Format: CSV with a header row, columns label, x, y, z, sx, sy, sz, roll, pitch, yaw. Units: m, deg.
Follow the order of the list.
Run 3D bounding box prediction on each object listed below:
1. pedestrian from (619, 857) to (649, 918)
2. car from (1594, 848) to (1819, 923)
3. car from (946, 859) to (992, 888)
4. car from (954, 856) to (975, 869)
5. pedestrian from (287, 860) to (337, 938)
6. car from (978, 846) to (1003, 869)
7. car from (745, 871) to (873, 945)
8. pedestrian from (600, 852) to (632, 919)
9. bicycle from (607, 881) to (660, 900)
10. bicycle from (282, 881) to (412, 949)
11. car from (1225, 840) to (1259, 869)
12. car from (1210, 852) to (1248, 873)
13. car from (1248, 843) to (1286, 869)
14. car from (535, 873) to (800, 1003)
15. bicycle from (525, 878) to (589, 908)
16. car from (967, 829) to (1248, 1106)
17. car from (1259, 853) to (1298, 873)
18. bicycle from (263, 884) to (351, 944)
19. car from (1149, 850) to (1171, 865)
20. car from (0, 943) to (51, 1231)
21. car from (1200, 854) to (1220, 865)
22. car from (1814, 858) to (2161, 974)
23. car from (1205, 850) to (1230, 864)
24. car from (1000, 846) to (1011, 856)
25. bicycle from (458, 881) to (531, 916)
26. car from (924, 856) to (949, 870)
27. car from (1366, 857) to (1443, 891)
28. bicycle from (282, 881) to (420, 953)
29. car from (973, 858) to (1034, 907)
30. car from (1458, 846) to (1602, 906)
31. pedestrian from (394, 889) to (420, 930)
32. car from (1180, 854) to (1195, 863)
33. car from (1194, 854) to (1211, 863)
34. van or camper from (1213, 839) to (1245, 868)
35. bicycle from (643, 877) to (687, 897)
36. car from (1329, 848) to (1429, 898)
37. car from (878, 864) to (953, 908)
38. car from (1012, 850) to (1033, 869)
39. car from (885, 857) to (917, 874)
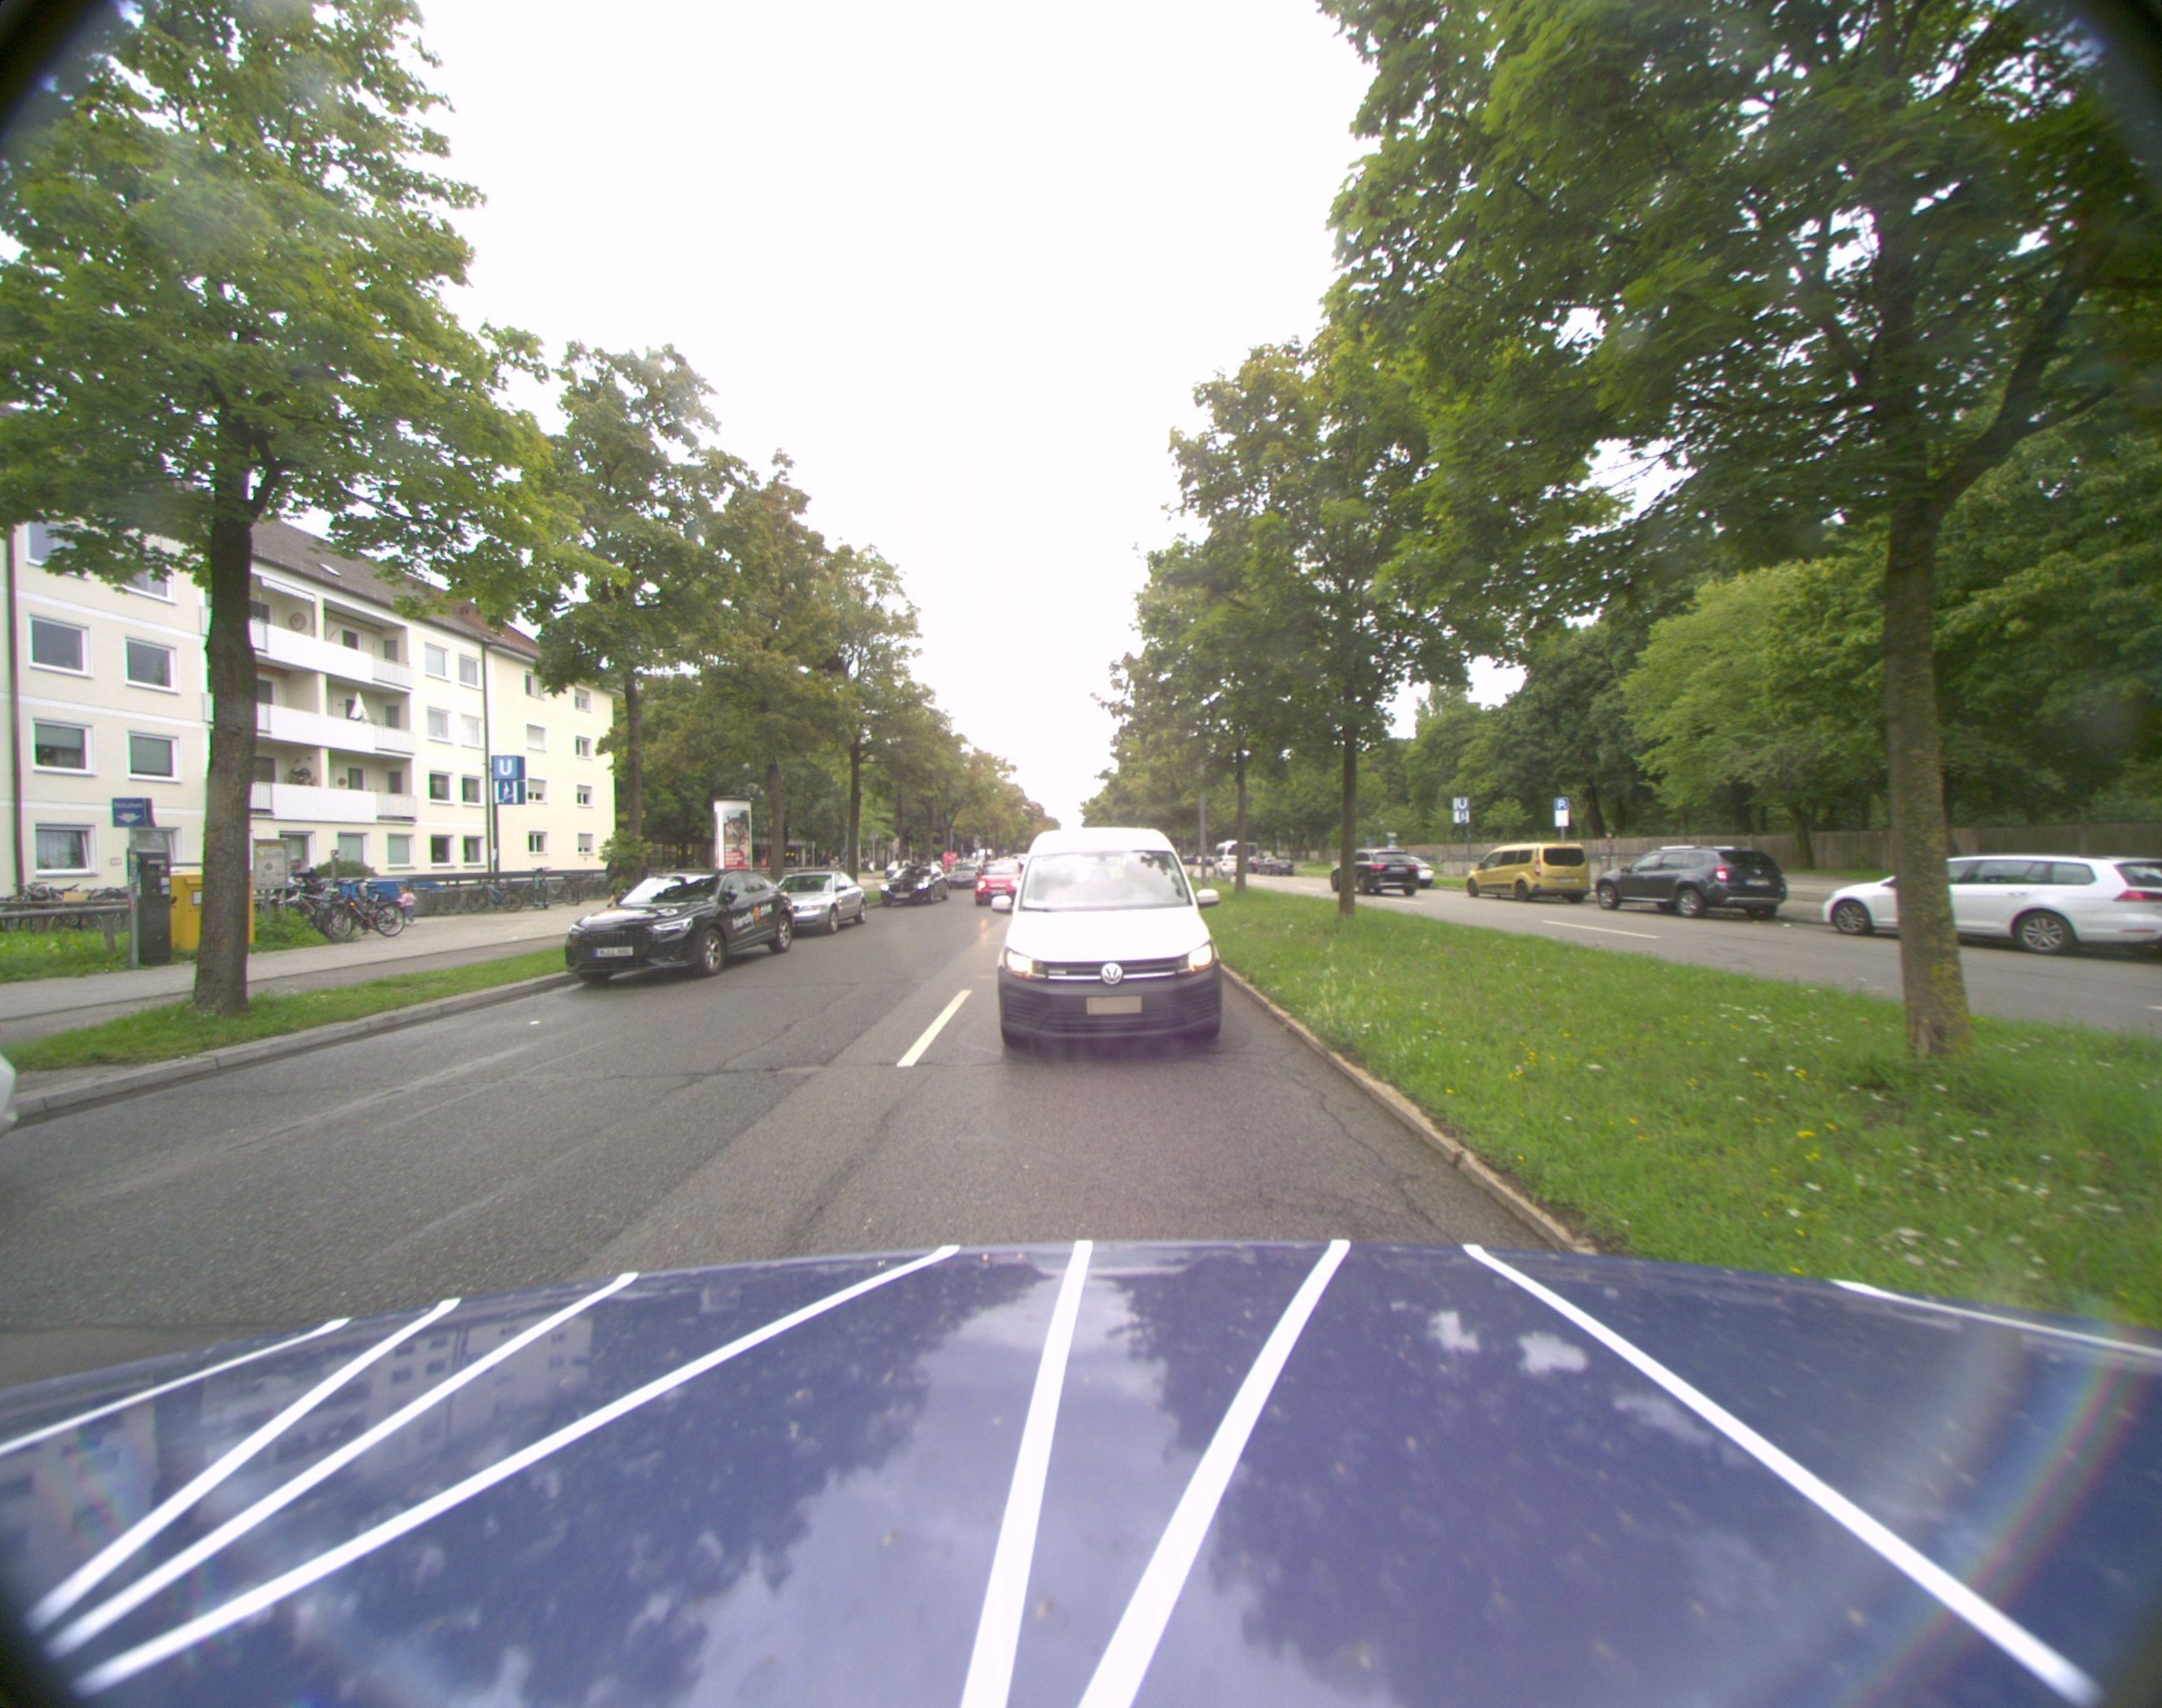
label,x,y,z,sx,sy,sz,roll,pitch,yaw
pedestrian,-11.959,0.893,20.331,0.560,1.595,0.519,-2,1,-20
car,14.779,0.677,18.313,2.007,1.607,4.040,0,0,-2
car,-6.154,1.040,42.130,1.827,1.460,4.300,-2,0,0
car,-14.651,1.065,95.784,1.827,1.460,4.300,-2,0,0
pedestrian,-16.902,0.965,16.707,0.560,1.664,0.519,-2,1,-20
car,-10.002,0.329,84.307,1.998,2.440,4.999,-2,1,1
car,-6.203,1.174,17.791,1.617,1.371,3.926,-2,0,-1
pedestrian,-12.513,0.837,20.445,0.560,1.745,0.656,-2,1,-19
bicycle,-16.345,1.321,27.762,1.599,0.634,0.498,1,0,-4
bicycle,-14.670,1.175,15.284,0.545,1.182,2.076,-1,0,1
car,14.478,0.029,68.606,1.999,2.576,4.499,0,0,-2
car,10.814,0.602,55.932,1.866,1.447,4.500,1,0,0
car,14.871,0.153,60.878,1.999,2.002,3.999,-1,0,0
car,-6.107,1.133,11.894,1.826,1.502,4.157,-2,0,0
bicycle,-16.519,1.211,23.968,1.599,0.910,0.498,0,1,-4
car,0.173,0.743,7.315,1.772,1.742,4.545,-3,0,0
car,14.553,0.647,56.198,1.717,1.401,4.040,0,0,-2
bicycle,-15.891,1.213,15.630,0.466,1.110,1.253,-1,1,1
car,8.671,0.370,83.827,1.866,1.649,4.500,1,0,0
car,-6.380,1.240,1.843,1.826,1.428,4.287,-3,0,0
car,17.163,0.771,101.230,1.717,1.401,4.040,0,0,-2
car,14.609,0.819,11.999,1.826,1.461,4.300,0,0,-2
car,14.168,0.338,79.025,1.717,1.401,4.040,0,0,-2
car,-17.715,-0.678,178.526,1.999,2.440,4.999,-1,0,-1
bicycle,-16.592,1.247,21.529,1.599,0.910,0.498,-1,1,-4
car,-15.852,0.970,83.736,1.827,1.460,4.300,-2,0,0
car,14.752,0.855,34.901,1.717,1.434,4.040,0,0,-2
bicycle,-13.765,1.151,14.424,0.545,1.182,2.076,-1,0,1
car,-2.616,0.924,26.592,1.723,1.492,4.299,-2,0,-1
car,14.332,0.628,24.609,1.862,1.761,4.533,0,0,-2
pedestrian,-15.560,1.277,17.534,0.338,0.915,0.395,-2,1,-28
car,17.190,0.701,123.221,1.717,1.401,4.040,0,0,-2
car,17.862,0.646,111.590,1.717,1.401,4.040,0,0,-2
van or camper,14.296,-0.050,73.720,1.999,2.791,4.931,0,0,-2
bicycle,-15.989,1.262,29.236,1.392,0.709,0.498,1,1,-4
car,10.774,0.635,27.841,1.866,1.659,4.500,1,0,0
car,-5.971,1.120,27.922,1.827,1.371,4.299,-2,0,-1
car,-6.174,0.562,80.507,1.827,1.939,4.300,-2,0,0
car,-16.290,1.034,68.957,1.827,1.460,4.300,-2,0,0
